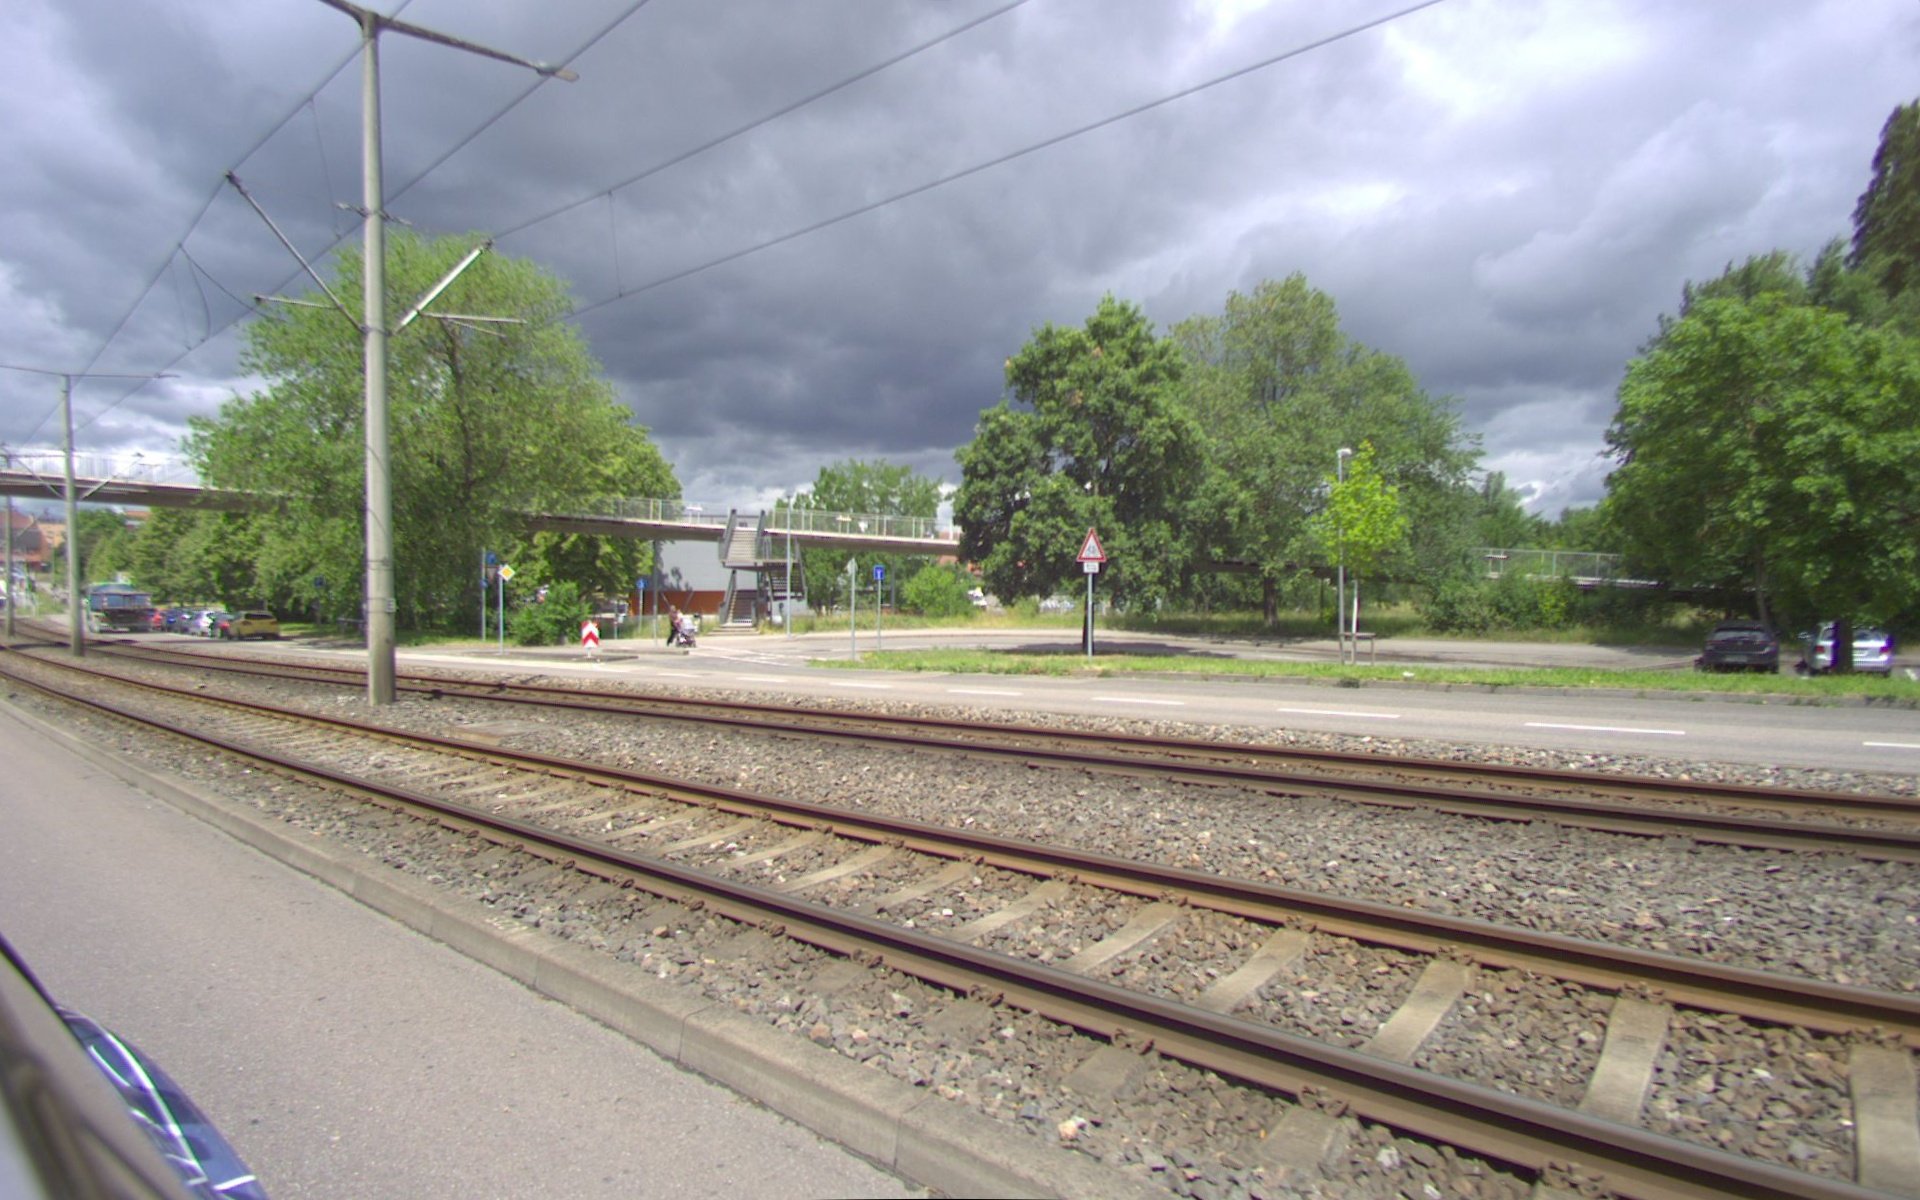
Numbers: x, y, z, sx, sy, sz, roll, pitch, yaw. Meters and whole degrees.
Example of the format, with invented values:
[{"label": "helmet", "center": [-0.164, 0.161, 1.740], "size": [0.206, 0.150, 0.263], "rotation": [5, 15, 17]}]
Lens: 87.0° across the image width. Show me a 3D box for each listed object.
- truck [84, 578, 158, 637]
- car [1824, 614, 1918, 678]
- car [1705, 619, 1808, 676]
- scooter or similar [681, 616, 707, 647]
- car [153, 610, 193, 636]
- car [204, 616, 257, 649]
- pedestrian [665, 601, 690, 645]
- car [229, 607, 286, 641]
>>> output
[{"label": "truck", "center": [-52.528, 0.344, 63.279], "size": [2.838, 3.344, 9.039], "rotation": [-3, 3, -43]}, {"label": "car", "center": [24.826, 1.196, 27.545], "size": [3.824, 1.401, 1.575], "rotation": [-3, 3, -43]}, {"label": "car", "center": [23.250, 1.334, 29.490], "size": [3.918, 1.286, 1.780], "rotation": [-3, 3, -43]}, {"label": "scooter or similar", "center": [-10.635, 1.243, 40.410], "size": [0.702, 1.155, 0.788], "rotation": [-3, 3, -44]}, {"label": "car", "center": [-50.781, 1.483, 65.254], "size": [1.539, 1.608, 4.162], "rotation": [1, -1, -45]}, {"label": "car", "center": [-38.931, 1.680, 53.968], "size": [1.670, 1.461, 3.901], "rotation": [-3, 4, -45]}, {"label": "pedestrian", "center": [-11.524, 0.928, 41.282], "size": [0.653, 1.768, 0.718], "rotation": [-3, 3, -45]}, {"label": "car", "center": [-35.183, 1.153, 50.661], "size": [1.670, 1.461, 3.901], "rotation": [-3, 4, -45]}]
